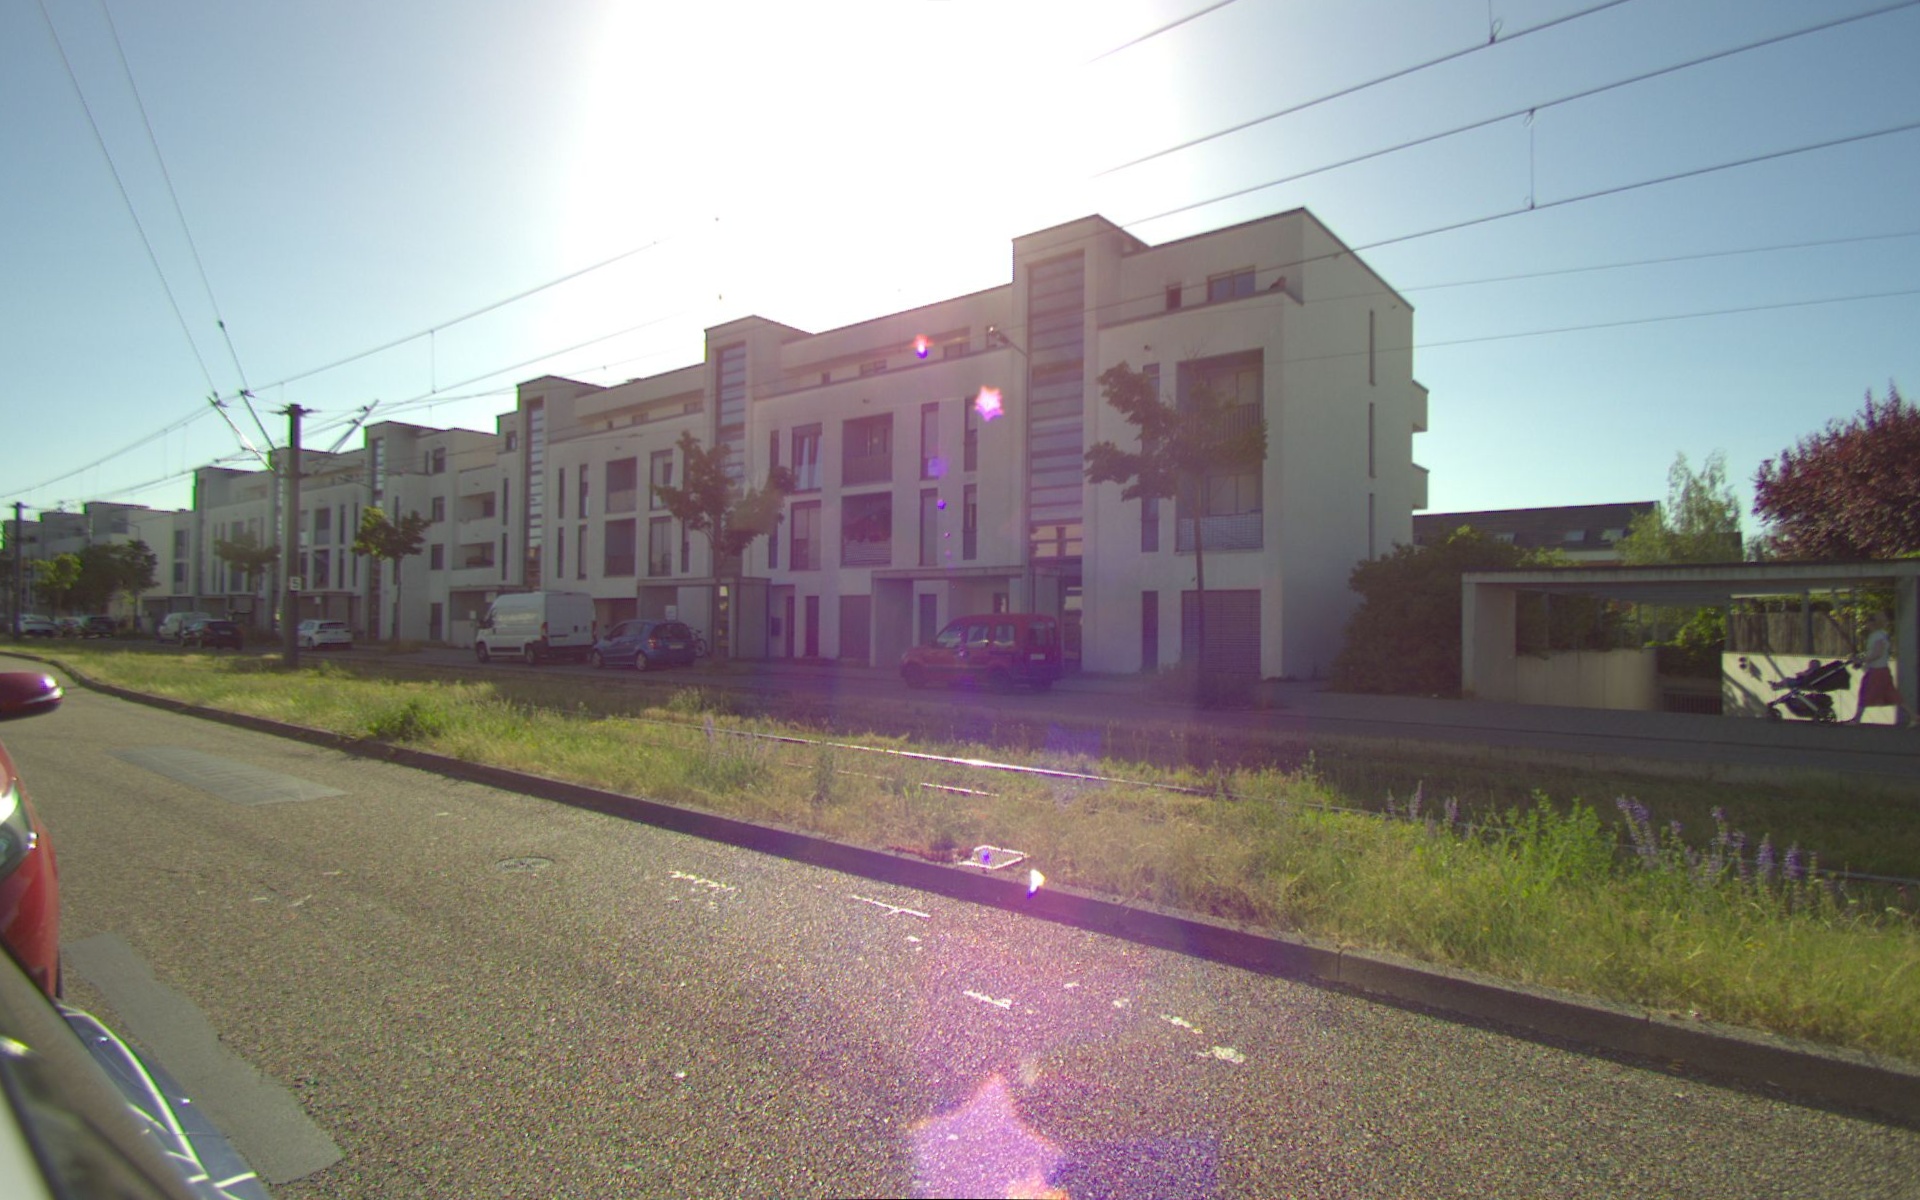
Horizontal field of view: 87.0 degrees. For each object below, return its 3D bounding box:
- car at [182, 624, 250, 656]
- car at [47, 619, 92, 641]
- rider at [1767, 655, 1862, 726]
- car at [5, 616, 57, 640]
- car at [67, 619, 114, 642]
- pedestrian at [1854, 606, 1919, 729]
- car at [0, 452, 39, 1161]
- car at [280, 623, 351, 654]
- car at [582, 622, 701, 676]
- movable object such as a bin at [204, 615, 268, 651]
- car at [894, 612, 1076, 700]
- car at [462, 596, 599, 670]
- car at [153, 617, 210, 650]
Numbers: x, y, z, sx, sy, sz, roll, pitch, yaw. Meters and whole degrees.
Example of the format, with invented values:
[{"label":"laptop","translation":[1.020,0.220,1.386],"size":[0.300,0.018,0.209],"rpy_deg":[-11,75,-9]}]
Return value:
[{"label":"car","translation":[-35.436,1.904,48.171],"size":[3.999,1.429,1.769],"rpy_deg":[-1,-4,42]},{"label":"car","translation":[-67.573,2.280,76.772],"size":[4.149,1.611,1.745],"rpy_deg":[-1,-1,37]},{"label":"rider","translation":[13.266,1.384,15.715],"size":[0.769,1.010,1.046],"rpy_deg":[0,-1,-44]},{"label":"car","translation":[-66.213,1.983,72.109],"size":[4.641,1.608,1.974],"rpy_deg":[-1,-4,39]},{"label":"car","translation":[-63.053,2.173,73.402],"size":[4.149,1.611,1.745],"rpy_deg":[-1,-1,37]},{"label":"pedestrian","translation":[13.935,0.980,15.015],"size":[0.806,1.761,0.910],"rpy_deg":[0,-1,-43]},{"label":"car","translation":[-5.175,0.618,3.846],"size":[5.203,1.948,1.954],"rpy_deg":[-1,0,42]},{"label":"car","translation":[-31.164,1.848,48.898],"size":[4.149,1.443,1.503],"rpy_deg":[-1,-1,37]},{"label":"car","translation":[-9.997,1.480,31.628],"size":[3.840,1.548,1.805],"rpy_deg":[-1,-1,41]},{"label":"movable object such as a bin","translation":[-40.668,1.838,56.817],"size":[4.149,1.952,1.745],"rpy_deg":[-1,-1,37]},{"label":"car","translation":[0.511,1.206,23.015],"size":[3.836,1.809,1.861],"rpy_deg":[-1,-1,42]},{"label":"car","translation":[-15.379,1.145,36.078],"size":[5.583,2.463,2.119],"rpy_deg":[-1,-1,39]},{"label":"car","translation":[-47.339,2.016,61.511],"size":[4.149,1.884,1.745],"rpy_deg":[-1,-1,37]}]
